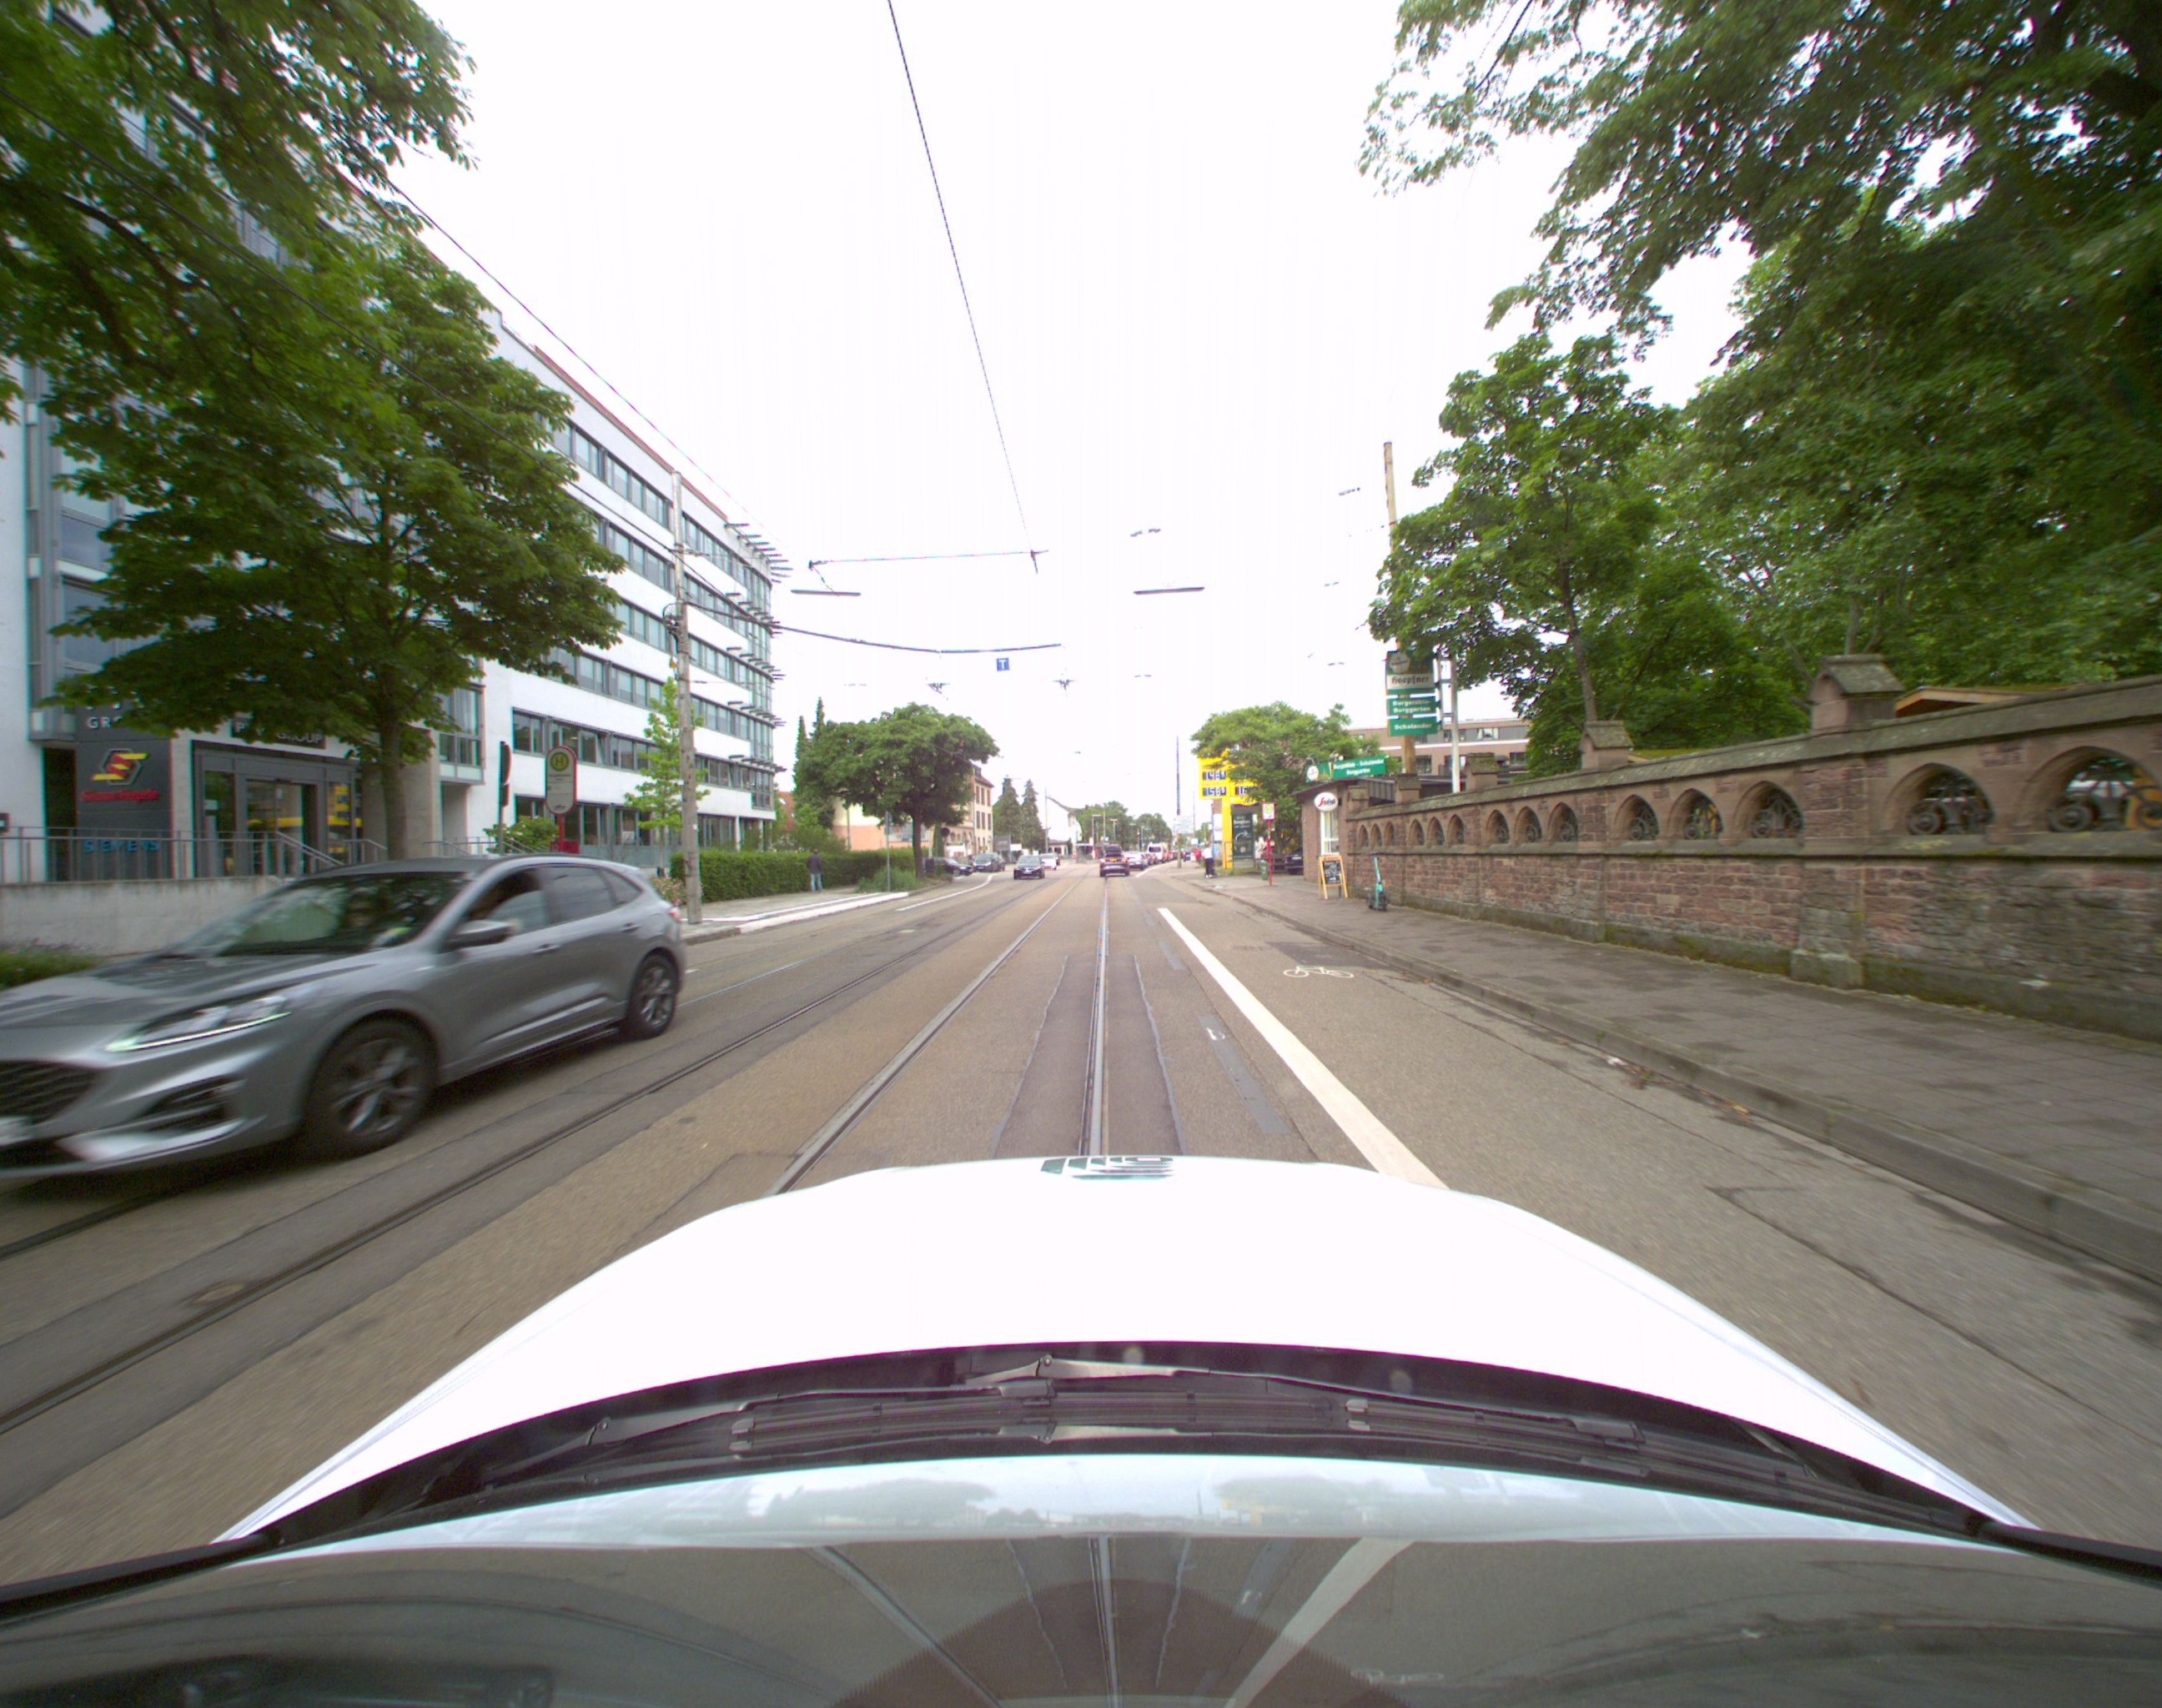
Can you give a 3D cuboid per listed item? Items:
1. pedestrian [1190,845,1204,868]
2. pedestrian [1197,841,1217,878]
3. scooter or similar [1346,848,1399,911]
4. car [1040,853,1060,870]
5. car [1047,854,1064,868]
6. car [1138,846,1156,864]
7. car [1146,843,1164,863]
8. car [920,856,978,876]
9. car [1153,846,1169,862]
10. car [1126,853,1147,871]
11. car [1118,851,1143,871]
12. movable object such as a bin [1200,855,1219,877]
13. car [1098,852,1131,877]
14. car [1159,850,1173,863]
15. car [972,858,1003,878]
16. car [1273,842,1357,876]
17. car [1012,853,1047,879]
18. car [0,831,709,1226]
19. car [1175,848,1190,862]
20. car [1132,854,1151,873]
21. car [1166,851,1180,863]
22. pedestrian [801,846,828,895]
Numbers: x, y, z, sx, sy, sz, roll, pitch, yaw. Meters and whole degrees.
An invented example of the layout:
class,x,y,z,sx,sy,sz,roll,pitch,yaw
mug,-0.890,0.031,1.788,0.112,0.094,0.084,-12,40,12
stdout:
class,x,y,z,sx,sy,sz,roll,pitch,yaw
pedestrian,9.269,0.208,64.995,0.967,1.738,0.862,-4,-1,5
pedestrian,6.426,0.263,41.620,0.762,1.797,1.167,-4,-1,16
scooter or similar,6.169,0.530,17.325,0.574,1.239,1.411,-5,-1,2
car,-2.892,0.694,76.503,1.698,1.530,3.742,-1,-1,1
car,-3.230,0.921,104.351,1.820,1.737,4.338,-2,-1,2
car,7.570,0.089,93.692,1.984,2.014,4.006,0,-1,5
car,9.185,-0.061,101.467,2.206,2.423,4.957,0,-1,4
car,-10.035,0.928,61.928,3.885,1.388,1.812,-1,0,22
car,10.818,0.017,110.642,2.129,2.146,4.750,0,-1,5
car,5.369,0.778,79.064,1.960,1.756,3.841,0,-1,3
car,3.948,0.579,65.785,1.974,1.550,4.185,0,0,2
movable object such as a bin,6.698,0.620,42.471,0.762,1.039,1.028,-4,-1,16
car,2.097,0.651,51.506,1.982,1.497,4.328,0,-1,2
car,13.276,0.404,127.172,1.986,2.014,4.002,0,-1,2
car,-8.973,1.324,78.561,1.982,1.887,5.005,0,-1,5
car,11.529,0.231,40.016,4.611,1.407,1.911,-3,1,-45
car,-3.195,0.722,51.098,1.741,1.486,4.065,-2,1,2
car,-4.649,0.769,5.714,1.835,1.654,4.391,-4,0,2
car,13.622,0.180,109.262,1.865,1.823,4.102,0,-1,5
car,6.499,1.020,87.383,1.984,2.014,4.004,0,-1,4
car,15.621,0.510,138.578,1.986,2.014,4.002,0,-1,2
pedestrian,-11.213,0.682,34.314,0.706,2.014,0.993,0,-1,9
